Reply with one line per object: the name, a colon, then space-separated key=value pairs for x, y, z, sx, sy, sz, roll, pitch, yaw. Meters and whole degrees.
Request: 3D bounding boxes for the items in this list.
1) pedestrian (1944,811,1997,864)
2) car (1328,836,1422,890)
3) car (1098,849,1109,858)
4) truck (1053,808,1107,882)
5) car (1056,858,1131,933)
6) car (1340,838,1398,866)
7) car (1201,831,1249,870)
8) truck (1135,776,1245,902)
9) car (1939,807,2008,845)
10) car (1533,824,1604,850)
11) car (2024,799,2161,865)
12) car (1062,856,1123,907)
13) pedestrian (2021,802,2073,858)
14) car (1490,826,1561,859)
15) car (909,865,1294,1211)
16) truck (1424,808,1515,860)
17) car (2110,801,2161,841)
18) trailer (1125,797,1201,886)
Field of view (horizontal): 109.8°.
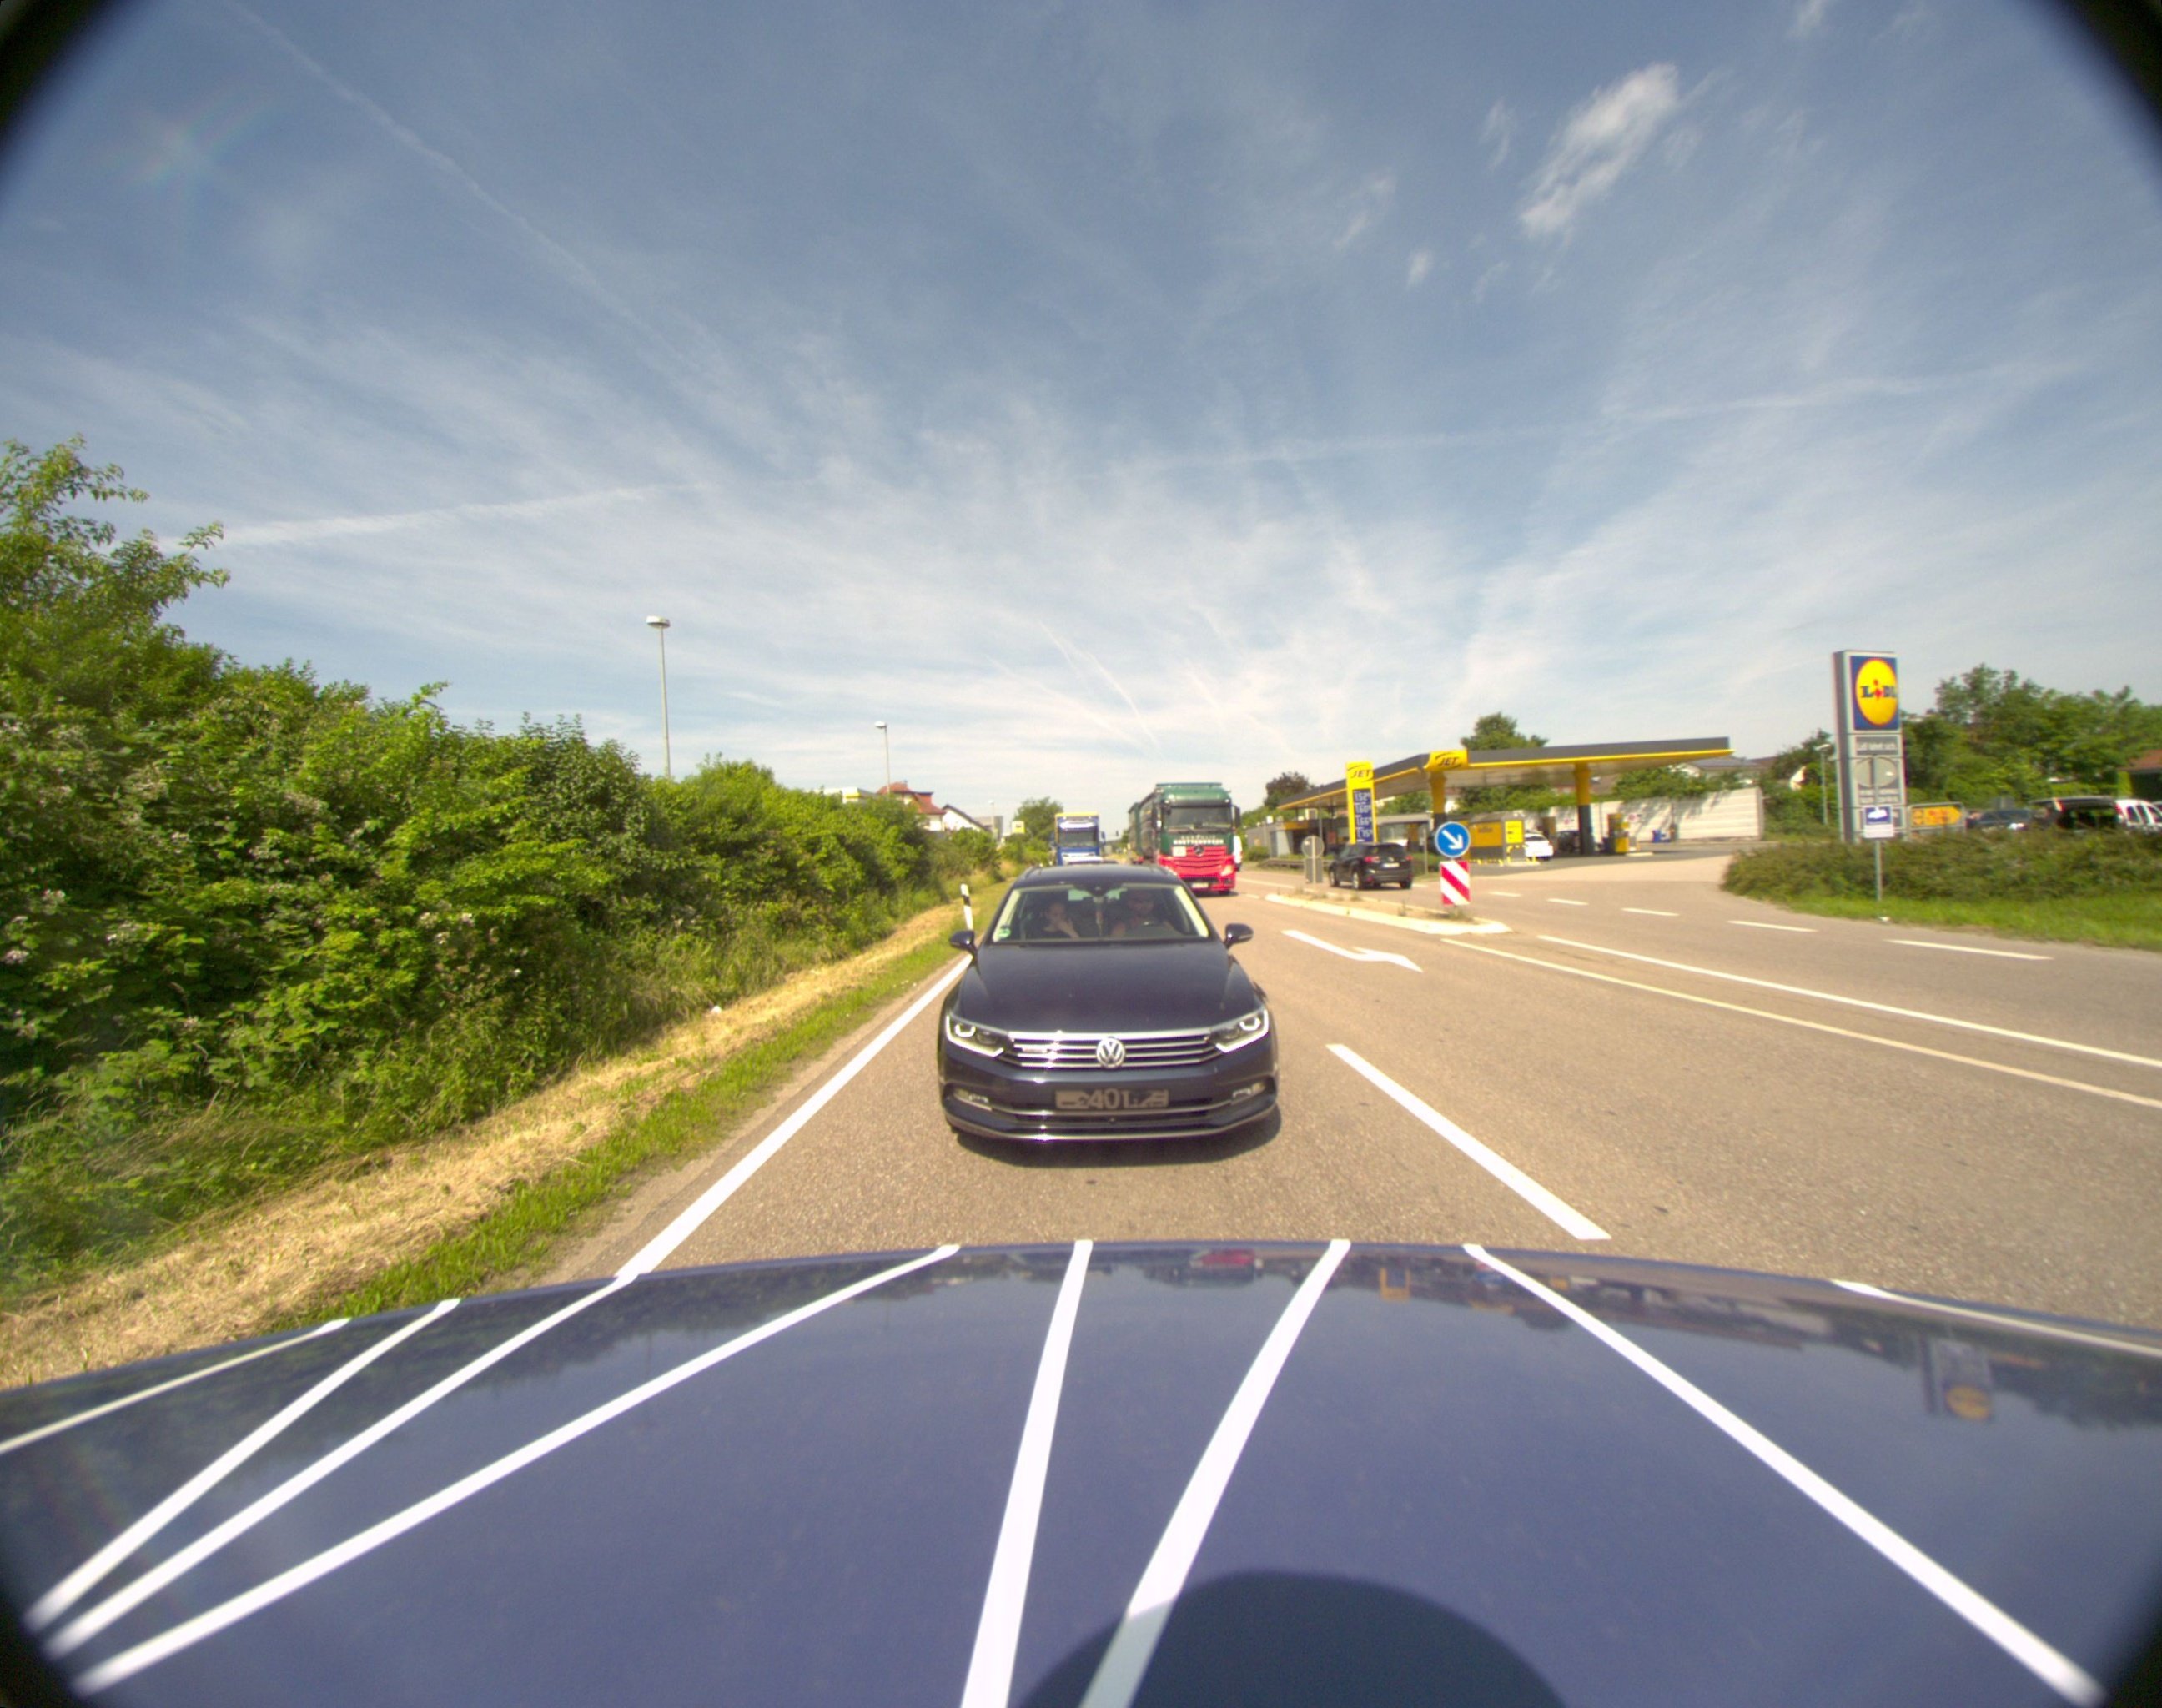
pedestrian: x=26.973 y=-0.501 z=23.052 sx=0.703 sy=1.566 sz=0.810 roll=-2 pitch=0 yaw=16
car: x=10.323 y=0.301 z=27.028 sx=1.871 sy=1.739 sz=4.111 roll=-2 pitch=0 yaw=2
car: x=4.075 y=-0.062 z=139.338 sx=1.819 sy=1.626 sz=3.893 roll=-2 pitch=0 yaw=1
truck: x=0.057 y=-0.527 z=48.479 sx=2.855 sy=3.999 sz=12.916 roll=-2 pitch=0 yaw=1
car: x=0.280 y=0.861 z=17.403 sx=1.471 sy=1.451 sz=3.797 roll=-2 pitch=0 yaw=1
car: x=19.048 y=-0.135 z=50.408 sx=1.999 sy=1.696 sz=4.263 roll=-2 pitch=0 yaw=-3
car: x=10.536 y=-0.230 z=56.183 sx=2.123 sy=2.639 sz=5.984 roll=-3 pitch=0 yaw=-2
truck: x=3.854 y=-0.498 z=29.342 sx=2.675 sy=3.897 sz=10.049 roll=-3 pitch=0 yaw=0
car: x=39.766 y=-1.260 z=33.917 sx=4.007 sy=1.531 sz=1.765 roll=-3 pitch=-1 yaw=-43
car: x=32.204 y=-1.095 z=50.326 sx=1.753 sy=1.603 sz=3.873 roll=-2 pitch=0 yaw=-10
car: x=30.697 y=-0.669 z=22.818 sx=4.172 sy=1.801 sz=1.877 roll=-3 pitch=1 yaw=-23
car: x=0.384 y=0.838 z=25.332 sx=1.814 sy=1.466 sz=3.973 roll=-2 pitch=0 yaw=1
pedestrian: x=27.773 y=-0.674 z=21.846 sx=0.705 sy=1.566 sz=0.807 roll=-3 pitch=2 yaw=-27
car: x=24.253 y=-0.576 z=41.629 sx=1.736 sy=1.718 sz=4.001 roll=-1 pitch=0 yaw=3
car: x=0.133 y=0.904 z=6.031 sx=1.756 sy=1.493 sz=4.925 roll=-2 pitch=0 yaw=1
truck: x=23.861 y=-1.186 z=47.022 sx=2.250 sy=2.906 sz=6.282 roll=-2 pitch=1 yaw=-1
car: x=44.682 y=-1.432 z=30.773 sx=3.999 sy=1.531 sz=1.769 roll=-3 pitch=0 yaw=-7
trailer: x=3.971 y=-0.569 z=38.678 sx=2.808 sy=3.897 sz=8.669 roll=-3 pitch=0 yaw=0
